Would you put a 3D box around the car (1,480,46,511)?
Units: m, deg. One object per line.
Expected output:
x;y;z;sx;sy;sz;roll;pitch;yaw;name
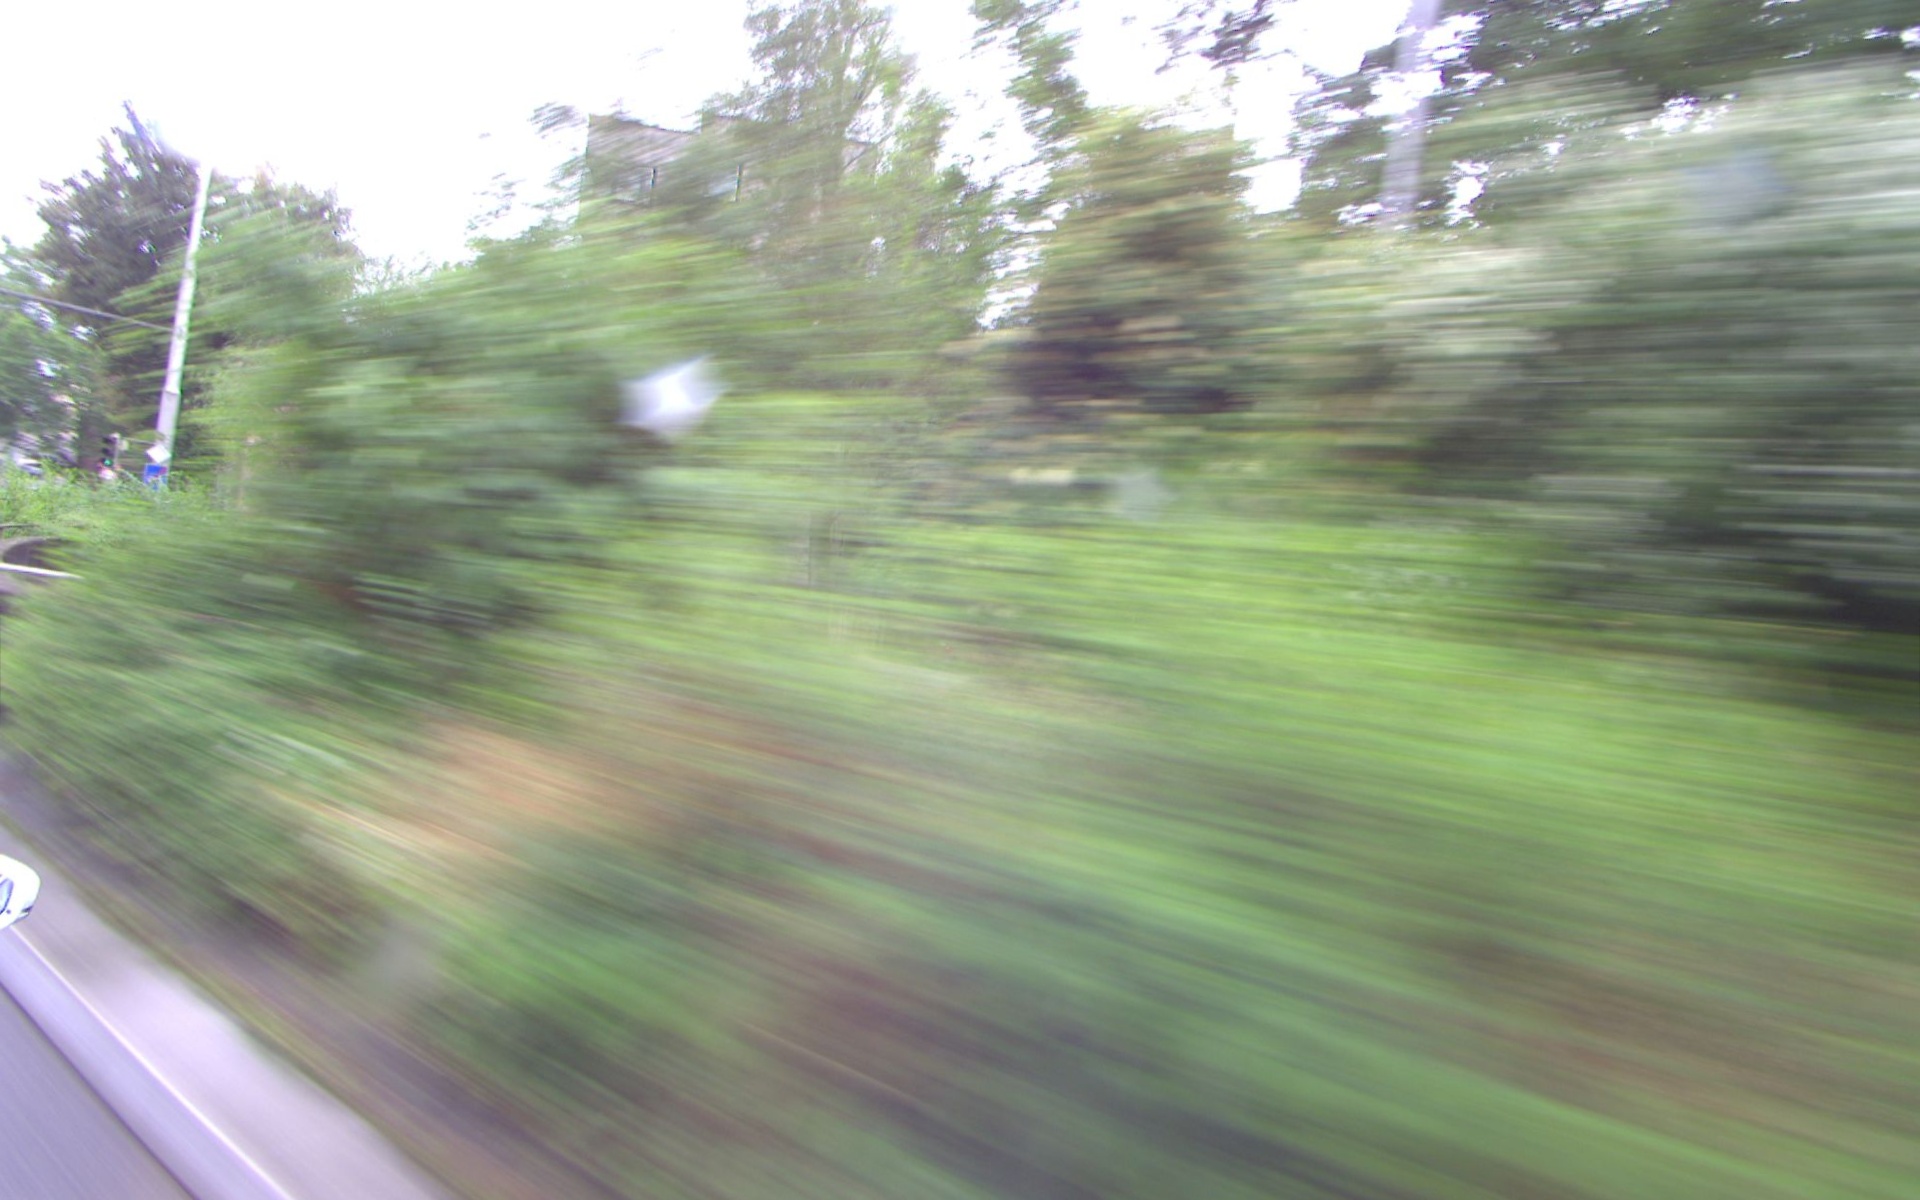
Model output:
-70.152;-7.842;75.402;1.923;1.890;3.956;10;-1;-39;car

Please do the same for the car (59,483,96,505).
-83.131;-10.018;94.786;1.918;1.696;3.962;7;3;-33;car

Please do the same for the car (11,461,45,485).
-101.558;-13.815;109.687;1.982;2.037;3.964;7;-2;-35;car

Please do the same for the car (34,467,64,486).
-109.359;-14.865;120.820;1.982;1.866;3.960;7;2;-35;car

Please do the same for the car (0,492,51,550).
-27.125;-2.266;28.177;1.948;1.443;4.086;7;-2;-36;car
